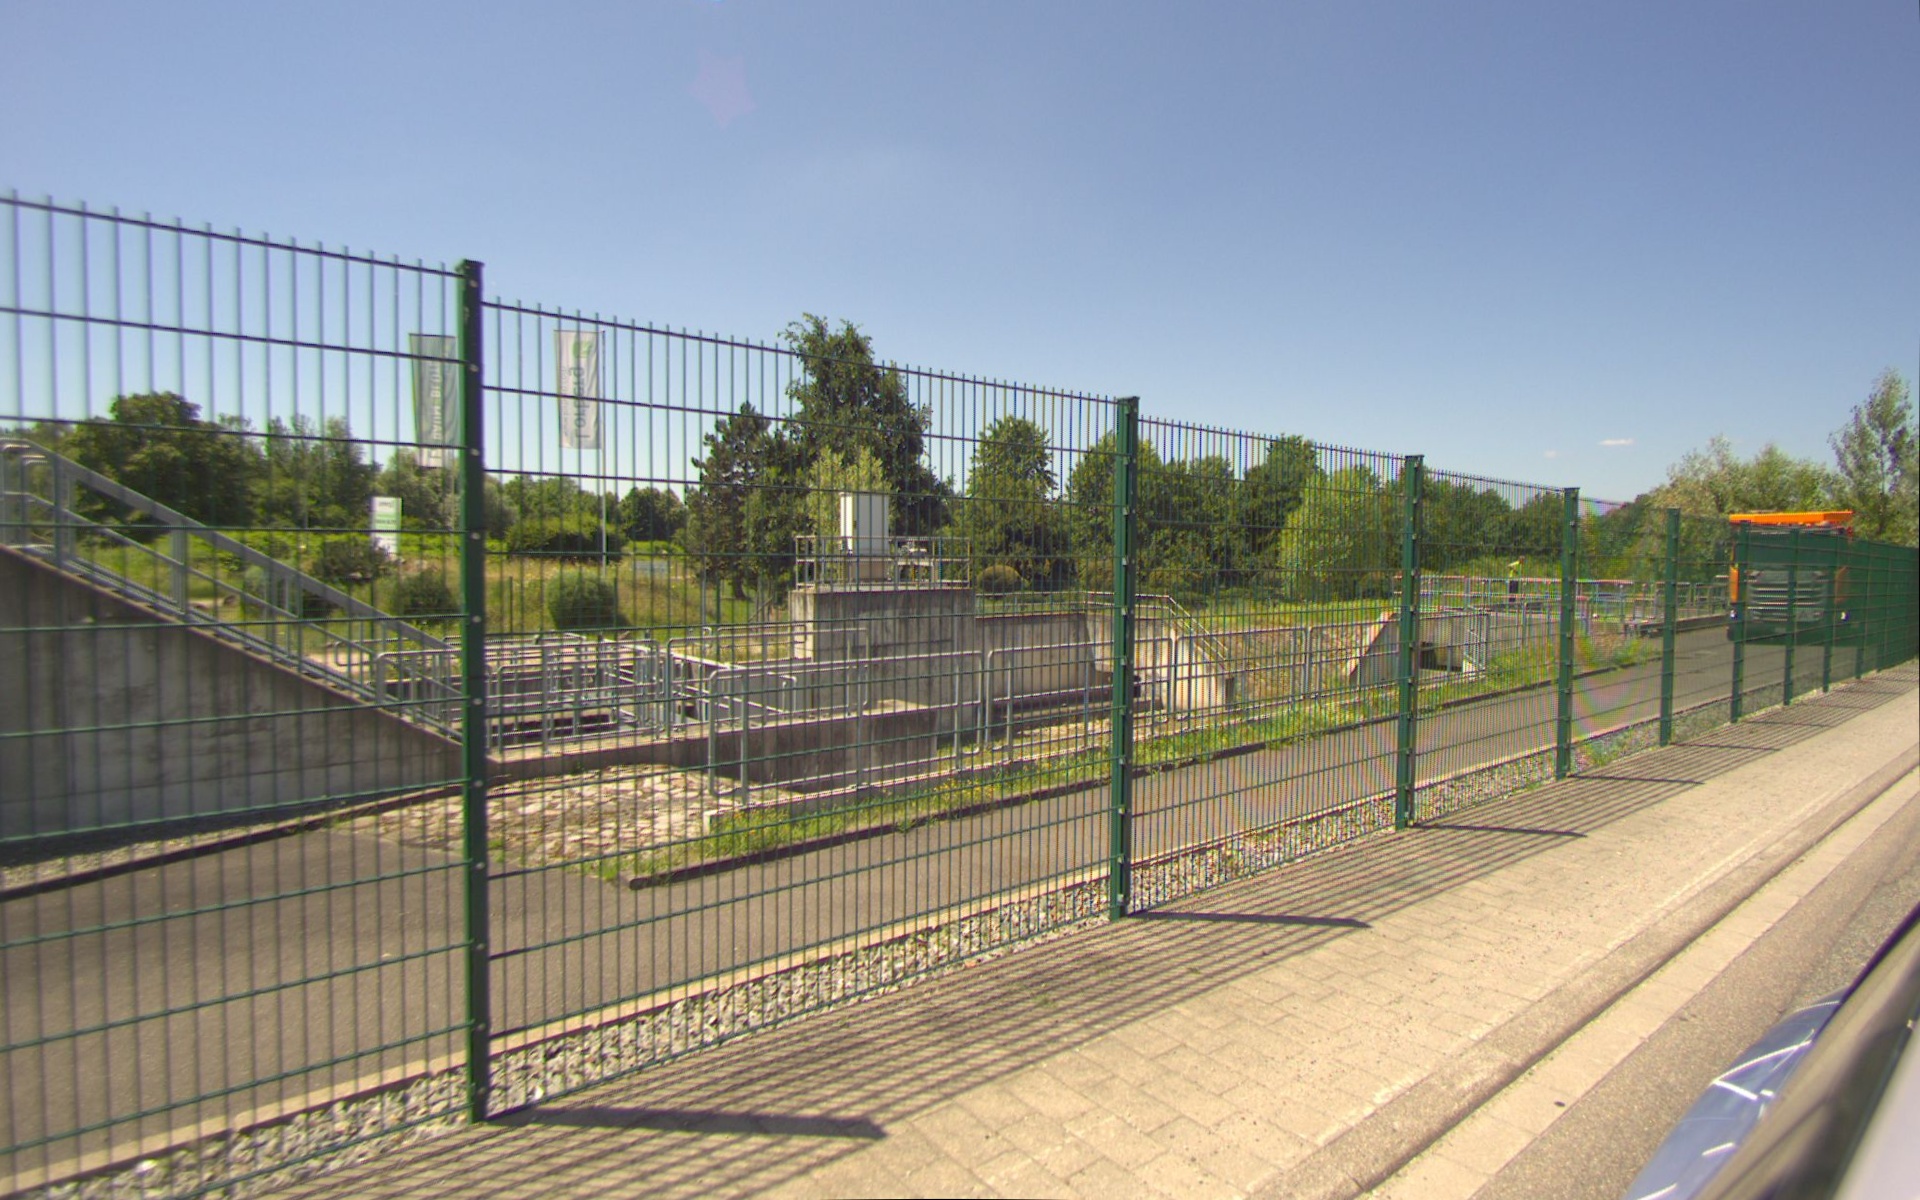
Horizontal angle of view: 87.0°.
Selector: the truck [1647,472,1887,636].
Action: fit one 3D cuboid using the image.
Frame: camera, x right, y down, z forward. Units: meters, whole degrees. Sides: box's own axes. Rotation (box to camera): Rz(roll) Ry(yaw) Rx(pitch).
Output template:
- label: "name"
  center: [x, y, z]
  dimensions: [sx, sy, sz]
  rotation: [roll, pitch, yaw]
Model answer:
- label: "truck"
  center: [22.694, -1.320, 28.251]
  dimensions: [8.473, 3.852, 4.155]
  rotation: [-3, 4, -44]
